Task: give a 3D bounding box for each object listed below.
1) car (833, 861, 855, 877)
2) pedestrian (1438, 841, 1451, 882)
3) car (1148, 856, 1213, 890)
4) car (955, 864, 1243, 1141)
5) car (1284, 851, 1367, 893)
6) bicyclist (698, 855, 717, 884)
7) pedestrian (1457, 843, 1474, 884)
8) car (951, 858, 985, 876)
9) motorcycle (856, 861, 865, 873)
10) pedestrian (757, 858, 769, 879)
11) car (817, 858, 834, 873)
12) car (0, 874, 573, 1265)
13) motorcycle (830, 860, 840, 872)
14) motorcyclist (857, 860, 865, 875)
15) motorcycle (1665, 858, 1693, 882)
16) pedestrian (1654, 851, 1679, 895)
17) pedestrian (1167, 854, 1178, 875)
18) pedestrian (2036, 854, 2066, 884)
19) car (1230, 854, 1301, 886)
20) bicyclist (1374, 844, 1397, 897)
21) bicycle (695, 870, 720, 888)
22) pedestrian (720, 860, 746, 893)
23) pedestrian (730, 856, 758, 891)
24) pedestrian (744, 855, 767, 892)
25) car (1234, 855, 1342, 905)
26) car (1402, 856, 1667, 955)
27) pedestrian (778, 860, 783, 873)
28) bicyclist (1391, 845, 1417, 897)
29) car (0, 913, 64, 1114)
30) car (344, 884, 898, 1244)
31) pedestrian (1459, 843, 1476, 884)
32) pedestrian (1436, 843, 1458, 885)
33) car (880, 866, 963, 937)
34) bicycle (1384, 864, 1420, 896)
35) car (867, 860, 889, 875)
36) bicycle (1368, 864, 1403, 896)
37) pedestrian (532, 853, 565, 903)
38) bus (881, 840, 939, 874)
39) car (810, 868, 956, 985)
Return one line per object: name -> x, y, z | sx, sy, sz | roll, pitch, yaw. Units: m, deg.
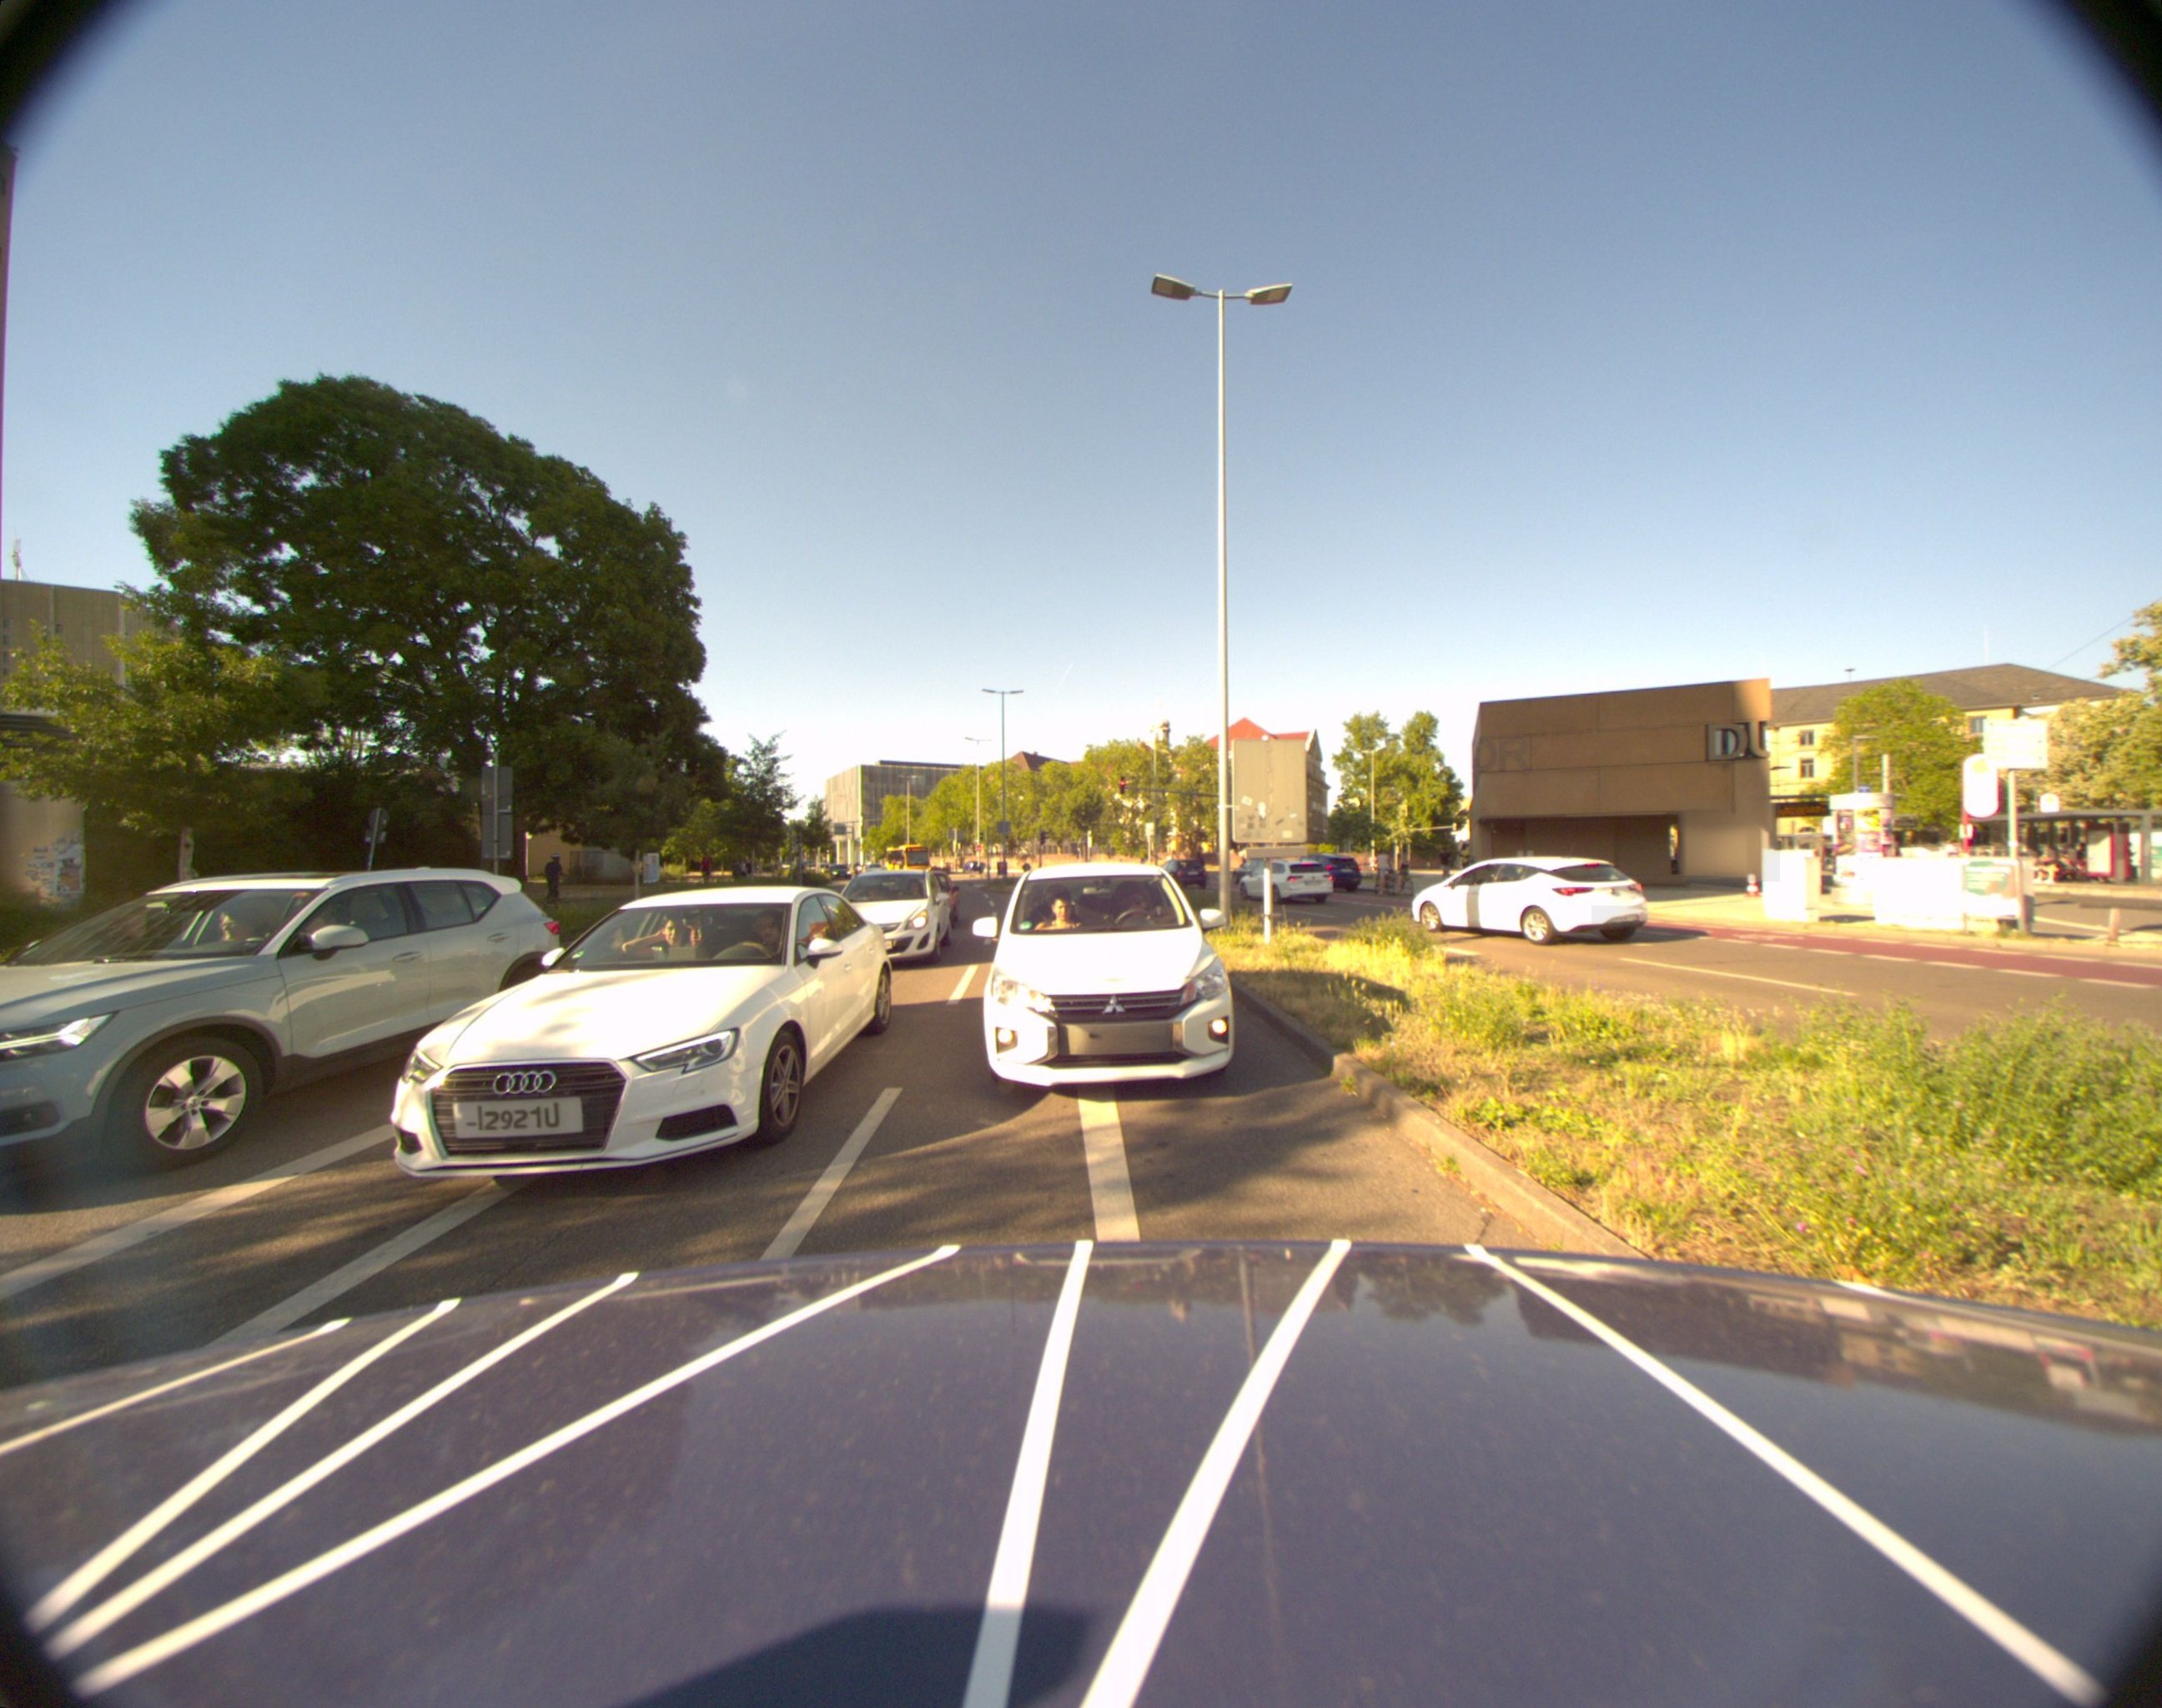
car -> -23.338, 1.445, 74.828 | 1.758, 1.451, 4.181 | -3, 1, -21
pedestrian -> 18.387, 0.378, 38.405 | 0.467, 2.002, 0.657 | -2, 1, 17
car -> 4.808, 0.878, 37.343 | 1.757, 1.451, 4.184 | -2, 1, -13
car -> 0.054, 0.893, 6.446 | 1.628, 1.451, 4.040 | -2, 1, -2
car -> 10.627, 0.717, 33.280 | 1.757, 1.680, 4.185 | -1, 0, -9
bicyclist -> -21.209, 0.875, 43.145 | 0.617, 1.551, 0.870 | -2, 1, -8
pedestrian -> 19.040, 0.454, 37.617 | 0.655, 2.002, 0.469 | -2, 1, 20
car -> -13.561, 1.571, 90.865 | 2.004, 2.002, 3.989 | -3, 1, -43
motorcycle -> -24.607, 1.457, 84.702 | 0.719, 1.297, 2.230 | -3, 1, -23
pedestrian -> -30.810, 1.370, 73.608 | 0.852, 2.002, 0.833 | -3, 1, -15
car -> -30.080, 1.288, 89.313 | 1.748, 1.696, 3.993 | -1, 0, -21
car -> -5.751, 1.051, 5.270 | 1.628, 1.611, 4.223 | -2, 1, -2
motorcycle -> -27.323, 1.366, 84.410 | 0.719, 1.297, 2.230 | -3, 1, -24
motorcyclist -> -24.526, 1.503, 84.617 | 0.712, 1.581, 0.689 | -3, 1, -21
motorcycle -> 26.178, 0.705, 33.273 | 0.948, 1.061, 0.331 | -1, 1, 39
pedestrian -> 27.897, 0.899, 36.222 | 0.780, 2.002, 0.771 | -3, 2, -42
pedestrian -> 8.454, 0.970, 70.460 | 0.797, 1.886, 0.612 | 0, 1, 40
pedestrian -> 38.951, 0.613, 30.519 | 0.539, 1.180, 0.659 | -2, 1, 29
car -> 9.360, 0.785, 38.929 | 1.850, 1.483, 4.388 | 1, 0, -10
bicyclist -> 11.753, 0.624, 29.333 | 0.611, 2.002, 0.565 | -1, 1, -15
bicycle -> -21.212, 1.409, 43.195 | 0.660, 0.958, 2.033 | 0, 1, -7
pedestrian -> -18.717, 1.193, 40.893 | 1.010, 1.711, 0.884 | -2, 1, -10
pedestrian -> -19.955, 1.130, 45.019 | 1.143, 2.002, 1.285 | -2, 1, -10
pedestrian -> -18.038, 1.089, 42.121 | 0.895, 2.002, 0.881 | -2, 1, -10
car -> 7.001, 0.812, 26.234 | 1.850, 1.483, 4.388 | -2, 1, -10
car -> 8.020, 0.804, 13.970 | 1.757, 1.451, 4.184 | -2, 1, -13
pedestrian -> -39.651, 1.657, 100.268 | 0.399, 1.676, 0.483 | -1, 1, 1
bicyclist -> 12.482, 0.642, 29.383 | 0.611, 2.002, 0.708 | -1, 1, -15
car -> -8.760, 1.240, 3.895 | 1.628, 1.451, 4.040 | -2, 1, -2
car -> -2.555, 1.035, 5.403 | 1.628, 1.396, 3.832 | -2, 1, -2
pedestrian -> 18.893, 0.465, 37.128 | 0.655, 2.002, 0.469 | -2, 1, 20
pedestrian -> 18.001, 0.497, 37.368 | 0.777, 2.002, 0.773 | -2, 1, 13
car -> -3.898, 1.095, 19.109 | 1.628, 1.451, 4.039 | -2, 1, -7
bicycle -> 12.461, 0.979, 29.534 | 0.464, 1.185, 1.395 | -3, 1, -17
car -> -20.371, 1.327, 76.037 | 1.758, 1.451, 4.182 | -3, 1, -19
bicycle -> 11.797, 1.005, 29.484 | 0.464, 1.185, 1.395 | -3, 1, -17
pedestrian -> -17.240, 0.761, 24.620 | 0.596, 1.585, 0.594 | -2, 1, -8
bus -> -18.145, 0.294, 79.825 | 3.091, 3.193, 12.518 | -3, 1, -26
car -> -3.076, 1.047, 12.592 | 1.628, 1.451, 4.039 | -2, 1, -5
